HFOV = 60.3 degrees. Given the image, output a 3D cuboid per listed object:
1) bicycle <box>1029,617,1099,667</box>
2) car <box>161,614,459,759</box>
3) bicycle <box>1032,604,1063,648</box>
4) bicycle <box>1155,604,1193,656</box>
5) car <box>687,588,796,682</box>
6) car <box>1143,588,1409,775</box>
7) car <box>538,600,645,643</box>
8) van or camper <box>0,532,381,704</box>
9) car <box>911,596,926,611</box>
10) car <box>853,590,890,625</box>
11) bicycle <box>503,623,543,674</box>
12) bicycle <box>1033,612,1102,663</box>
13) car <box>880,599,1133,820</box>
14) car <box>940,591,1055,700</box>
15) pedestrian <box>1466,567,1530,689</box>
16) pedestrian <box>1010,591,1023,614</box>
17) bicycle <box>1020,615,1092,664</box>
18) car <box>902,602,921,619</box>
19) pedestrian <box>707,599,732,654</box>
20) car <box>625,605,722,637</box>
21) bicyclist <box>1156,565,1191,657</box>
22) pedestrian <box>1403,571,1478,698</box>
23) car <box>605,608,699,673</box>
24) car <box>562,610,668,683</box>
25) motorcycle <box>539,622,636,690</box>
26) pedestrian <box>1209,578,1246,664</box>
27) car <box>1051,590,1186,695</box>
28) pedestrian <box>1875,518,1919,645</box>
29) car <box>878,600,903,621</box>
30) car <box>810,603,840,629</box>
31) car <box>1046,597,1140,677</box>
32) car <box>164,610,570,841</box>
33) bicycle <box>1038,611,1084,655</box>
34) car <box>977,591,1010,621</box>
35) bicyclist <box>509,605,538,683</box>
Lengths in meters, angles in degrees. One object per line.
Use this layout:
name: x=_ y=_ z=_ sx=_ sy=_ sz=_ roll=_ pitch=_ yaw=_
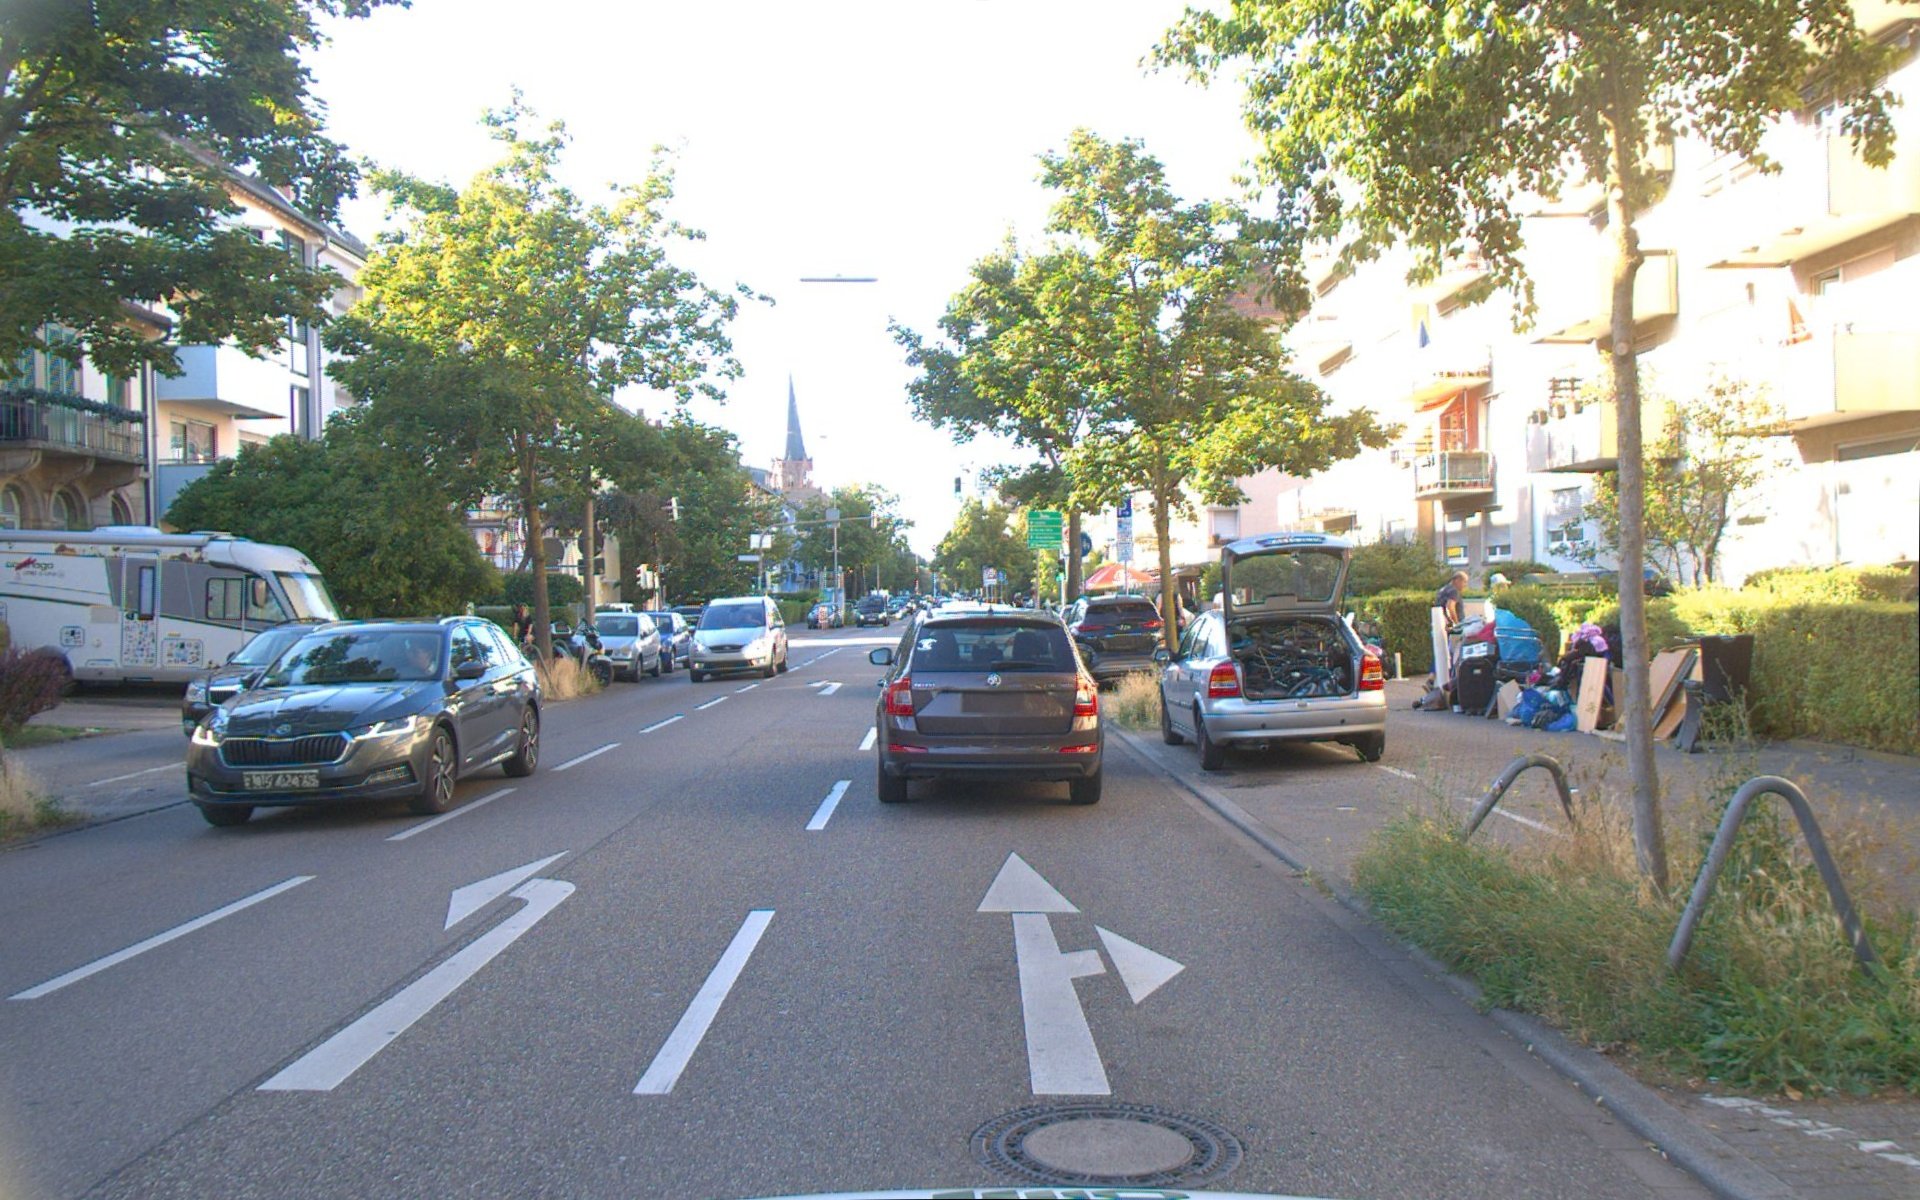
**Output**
bicycle: x=2.581 y=1.033 z=40.892 sx=1.651 sy=1.127 sz=0.517 roll=-4 pitch=-1 yaw=6
car: x=-7.674 y=0.949 z=20.036 sx=1.829 sy=1.521 sz=4.517 roll=0 pitch=0 yaw=0
bicycle: x=2.434 y=0.726 z=46.066 sx=0.492 sy=1.167 sz=1.956 roll=-4 pitch=0 yaw=-6
bicycle: x=4.336 y=0.590 z=33.567 sx=0.505 sy=1.004 sz=1.831 roll=-1 pitch=0 yaw=0
car: x=-4.749 y=0.729 z=36.528 sx=1.769 sy=1.836 sz=4.744 roll=-3 pitch=0 yaw=-1
car: x=2.939 y=0.698 z=16.269 sx=1.673 sy=1.506 sz=4.267 roll=-3 pitch=0 yaw=-1
car: x=-17.192 y=0.997 z=77.216 sx=4.540 sy=1.843 sz=1.861 roll=-1 pitch=0 yaw=-1
van or camper: x=-14.009 y=0.300 z=29.222 sx=6.660 sy=2.821 sz=2.351 roll=1 pitch=0 yaw=-2
car: x=-5.733 y=0.492 z=231.155 sx=1.953 sy=2.049 sz=4.000 roll=-1 pitch=0 yaw=0
car: x=-5.430 y=0.447 z=101.671 sx=1.953 sy=1.942 sz=4.963 roll=-3 pitch=0 yaw=-1
bicycle: x=-9.674 y=1.062 z=36.623 sx=0.476 sy=1.083 sz=1.534 roll=-1 pitch=0 yaw=-1
bicycle: x=2.465 y=0.850 z=37.921 sx=1.538 sy=1.123 sz=0.392 roll=-1 pitch=0 yaw=0
car: x=0.287 y=0.753 z=13.523 sx=1.737 sy=1.515 sz=4.310 roll=0 pitch=0 yaw=-1
car: x=0.576 y=0.683 z=26.728 sx=1.701 sy=1.598 sz=4.000 roll=1 pitch=0 yaw=0
pedestrian: x=7.044 y=0.360 z=21.640 sx=0.582 sy=1.567 sz=0.693 roll=-2 pitch=0 yaw=36
pedestrian: x=4.315 y=0.165 z=125.546 sx=0.661 sy=1.734 sz=0.800 roll=-2 pitch=0 yaw=26
bicycle: x=2.550 y=1.037 z=43.852 sx=1.796 sy=1.177 sz=0.684 roll=-4 pitch=-1 yaw=6
car: x=-4.774 y=1.009 z=163.426 sx=1.751 sy=1.598 sz=4.000 roll=1 pitch=0 yaw=0
pedestrian: x=-9.078 y=0.996 z=62.478 sx=0.764 sy=2.022 sz=0.821 roll=-2 pitch=0 yaw=0
car: x=-14.366 y=1.029 z=83.086 sx=4.540 sy=1.562 sz=1.861 roll=0 pitch=0 yaw=-1
bicyclist: x=4.332 y=0.218 z=33.591 sx=0.569 sy=1.820 sz=0.852 roll=-1 pitch=0 yaw=0
pedestrian: x=6.453 y=0.455 z=22.192 sx=0.742 sy=1.668 sz=0.693 roll=-2 pitch=0 yaw=36
car: x=-7.676 y=0.970 z=41.536 sx=1.615 sy=1.544 sz=4.073 roll=0 pitch=0 yaw=0
car: x=-7.642 y=0.990 z=36.907 sx=1.561 sy=1.496 sz=3.803 roll=1 pitch=0 yaw=0
motorcycle: x=-7.486 y=1.121 z=33.199 sx=2.015 sy=1.287 sz=0.764 roll=-2 pitch=0 yaw=38
pedestrian: x=5.665 y=0.435 z=35.064 sx=0.648 sy=1.779 sz=0.773 roll=-3 pitch=0 yaw=6
car: x=2.669 y=0.686 z=28.642 sx=1.818 sy=1.609 sz=4.012 roll=-3 pitch=0 yaw=-1
pedestrian: x=12.658 y=-0.246 z=22.116 sx=0.467 sy=1.668 sz=0.533 roll=-1 pitch=0 yaw=-19
car: x=-5.658 y=0.819 z=134.595 sx=1.793 sy=1.607 sz=4.000 roll=-2 pitch=0 yaw=0
car: x=-8.097 y=0.965 z=99.279 sx=1.491 sy=1.482 sz=3.584 roll=-1 pitch=0 yaw=0
car: x=2.688 y=0.716 z=34.225 sx=1.668 sy=1.475 sz=4.014 roll=-3 pitch=0 yaw=2
car: x=-4.680 y=0.889 z=13.844 sx=1.725 sy=1.477 sz=4.533 roll=-3 pitch=0 yaw=-1
bicycle: x=2.574 y=0.829 z=42.177 sx=0.606 sy=1.069 sz=1.572 roll=-1 pitch=0 yaw=25
car: x=2.108 y=0.381 z=103.663 sx=1.952 sy=1.803 sz=4.001 roll=1 pitch=0 yaw=2
bicyclist: x=-9.678 y=0.969 z=36.693 sx=0.459 sy=1.692 sz=0.552 roll=-1 pitch=0 yaw=-1
